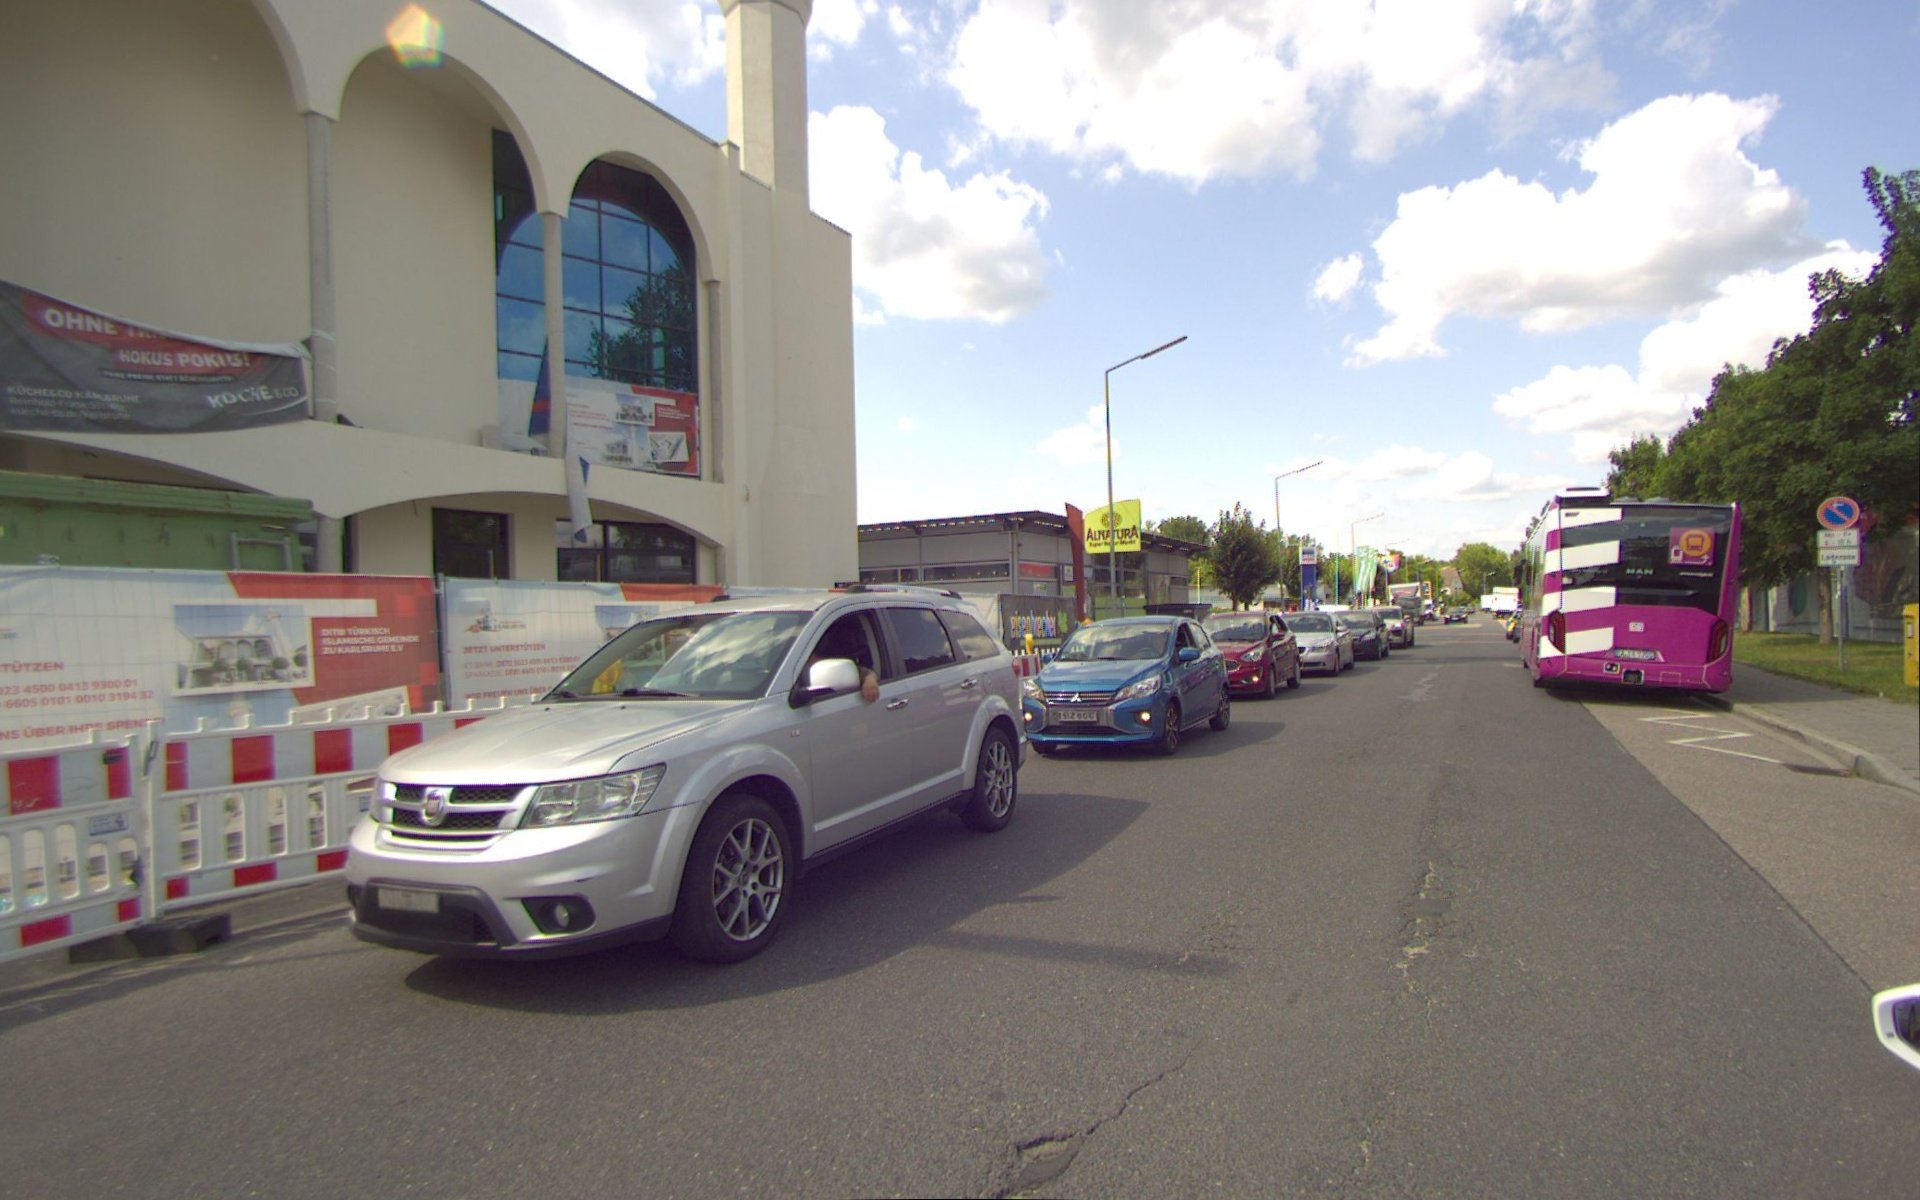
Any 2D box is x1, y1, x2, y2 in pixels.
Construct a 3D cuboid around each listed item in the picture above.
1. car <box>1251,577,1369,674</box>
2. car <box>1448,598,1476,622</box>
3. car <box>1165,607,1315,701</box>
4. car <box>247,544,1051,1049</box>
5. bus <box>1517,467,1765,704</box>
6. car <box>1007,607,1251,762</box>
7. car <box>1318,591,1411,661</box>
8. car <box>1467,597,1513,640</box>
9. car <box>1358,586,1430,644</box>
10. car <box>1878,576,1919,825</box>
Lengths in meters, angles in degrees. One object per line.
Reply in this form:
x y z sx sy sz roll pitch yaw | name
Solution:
8.400 0.572 23.841 1.889 2.040 4.452 2 0 29 | car
44.553 0.867 89.068 1.964 2.040 3.993 -2 -1 29 | car
5.284 0.917 18.566 1.759 1.529 4.187 -2 -1 28 | car
-1.153 0.768 6.034 1.833 1.721 4.836 -3 -3 24 | car
13.006 -0.123 20.235 2.841 3.409 11.551 -2 -1 28 | bus
2.228 0.878 12.182 1.666 1.533 4.190 -2 -1 28 | car
12.322 0.763 30.418 1.964 1.939 4.779 -2 -1 30 | car
23.015 0.797 43.591 1.653 1.752 3.994 2 0 28 | car
16.534 0.558 38.123 1.964 2.040 4.779 -2 -1 30 | car
8.224 0.533 5.585 4.316 1.687 1.763 -5 -3 36 | car
